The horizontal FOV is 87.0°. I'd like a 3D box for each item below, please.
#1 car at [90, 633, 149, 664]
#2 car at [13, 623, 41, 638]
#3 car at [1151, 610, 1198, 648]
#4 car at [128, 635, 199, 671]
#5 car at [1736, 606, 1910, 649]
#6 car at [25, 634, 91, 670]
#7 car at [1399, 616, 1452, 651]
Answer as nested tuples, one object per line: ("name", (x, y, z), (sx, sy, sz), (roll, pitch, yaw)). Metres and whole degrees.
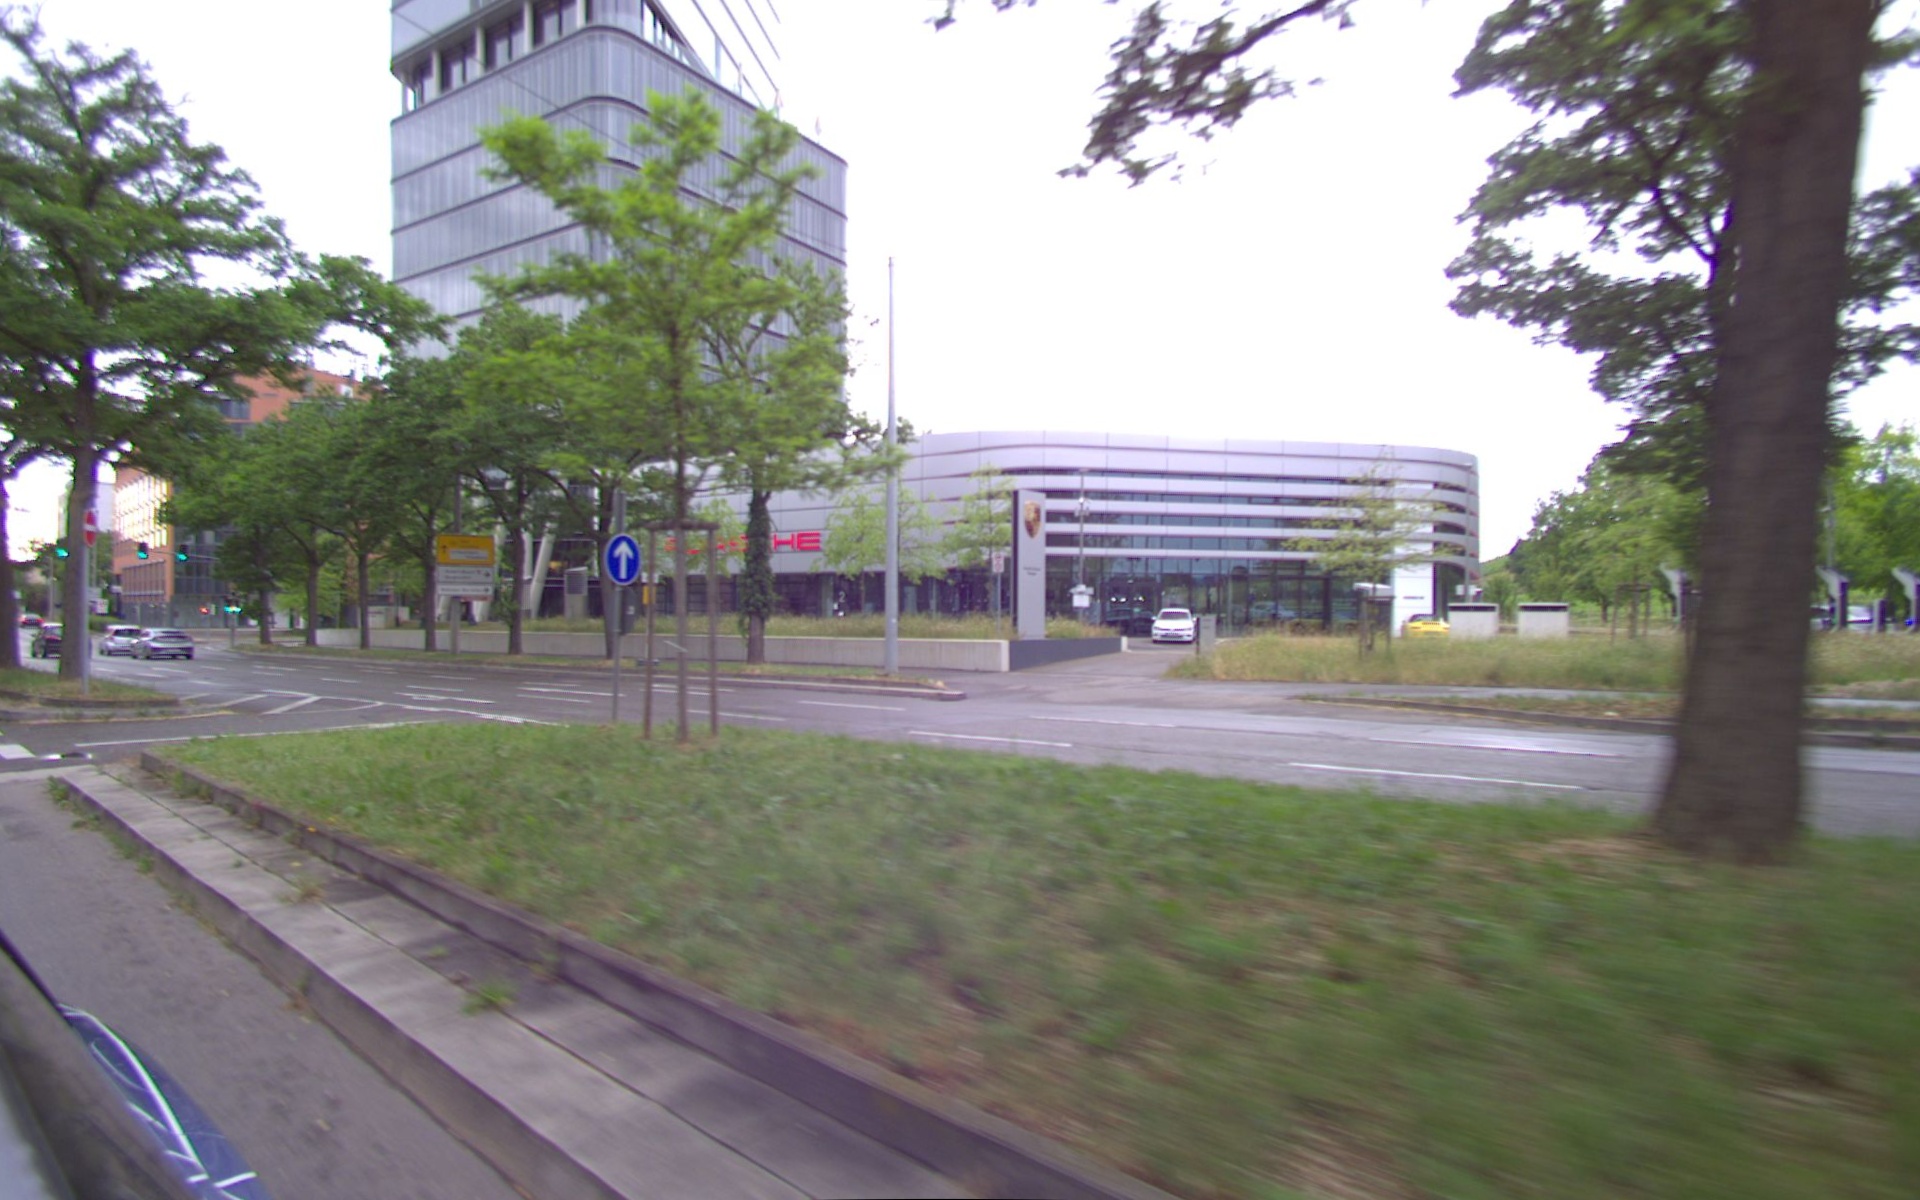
("car", (-44.758, 2.538, 53.870), (3.998, 1.464, 1.760), (-1, 1, 41))
("car", (-100.953, 3.274, 109.539), (3.998, 1.464, 1.760), (-1, 1, 41))
("car", (9.174, 1.203, 43.586), (1.759, 1.423, 3.988), (-1, 1, 10))
("car", (-37.204, 2.440, 47.255), (3.998, 1.464, 1.870), (-1, 1, 41))
("car", (28.130, 0.849, 33.125), (1.592, 1.254, 4.013), (-2, 1, -27))
("car", (-43.331, 2.455, 48.589), (4.171, 1.602, 1.822), (-1, -2, 41))
("car", (21.042, 1.494, 45.866), (1.606, 1.333, 3.978), (-1, 1, 17))
